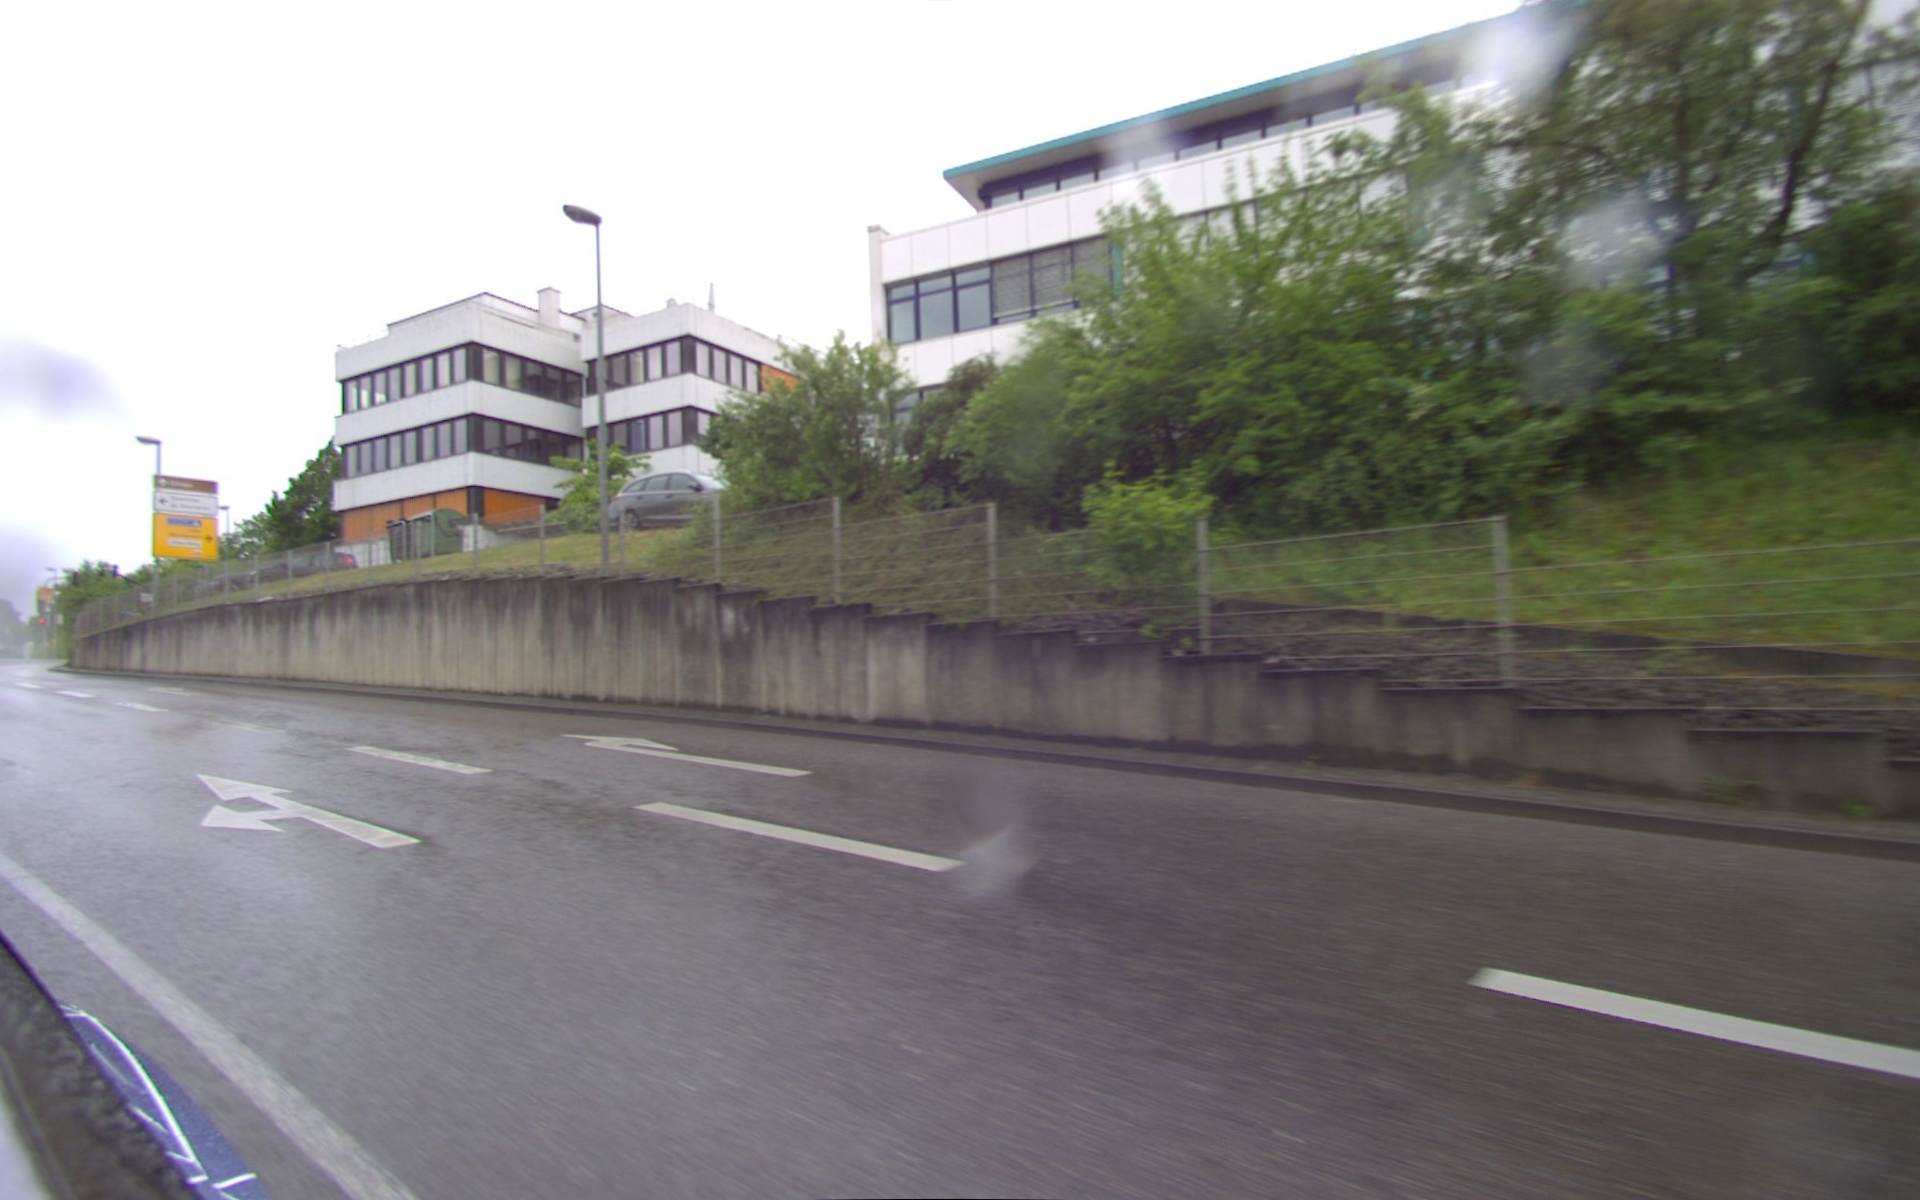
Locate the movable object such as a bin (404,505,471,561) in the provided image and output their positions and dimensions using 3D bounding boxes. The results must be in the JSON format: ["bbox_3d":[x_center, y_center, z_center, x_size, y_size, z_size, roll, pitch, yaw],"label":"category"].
[{"bbox_3d":[-14.152,-1.786,27.406,1.215,1.357,1.229,-1,-2,37],"label":"movable object such as a bin"}]

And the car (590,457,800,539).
[{"bbox_3d":[-5.823,-2.137,22.070,4.520,1.353,1.897,0,-1,33],"label":"car"}]

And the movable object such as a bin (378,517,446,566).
[{"bbox_3d":[-15.262,-1.604,28.175,1.340,1.221,1.230,-1,-2,36],"label":"movable object such as a bin"}]
